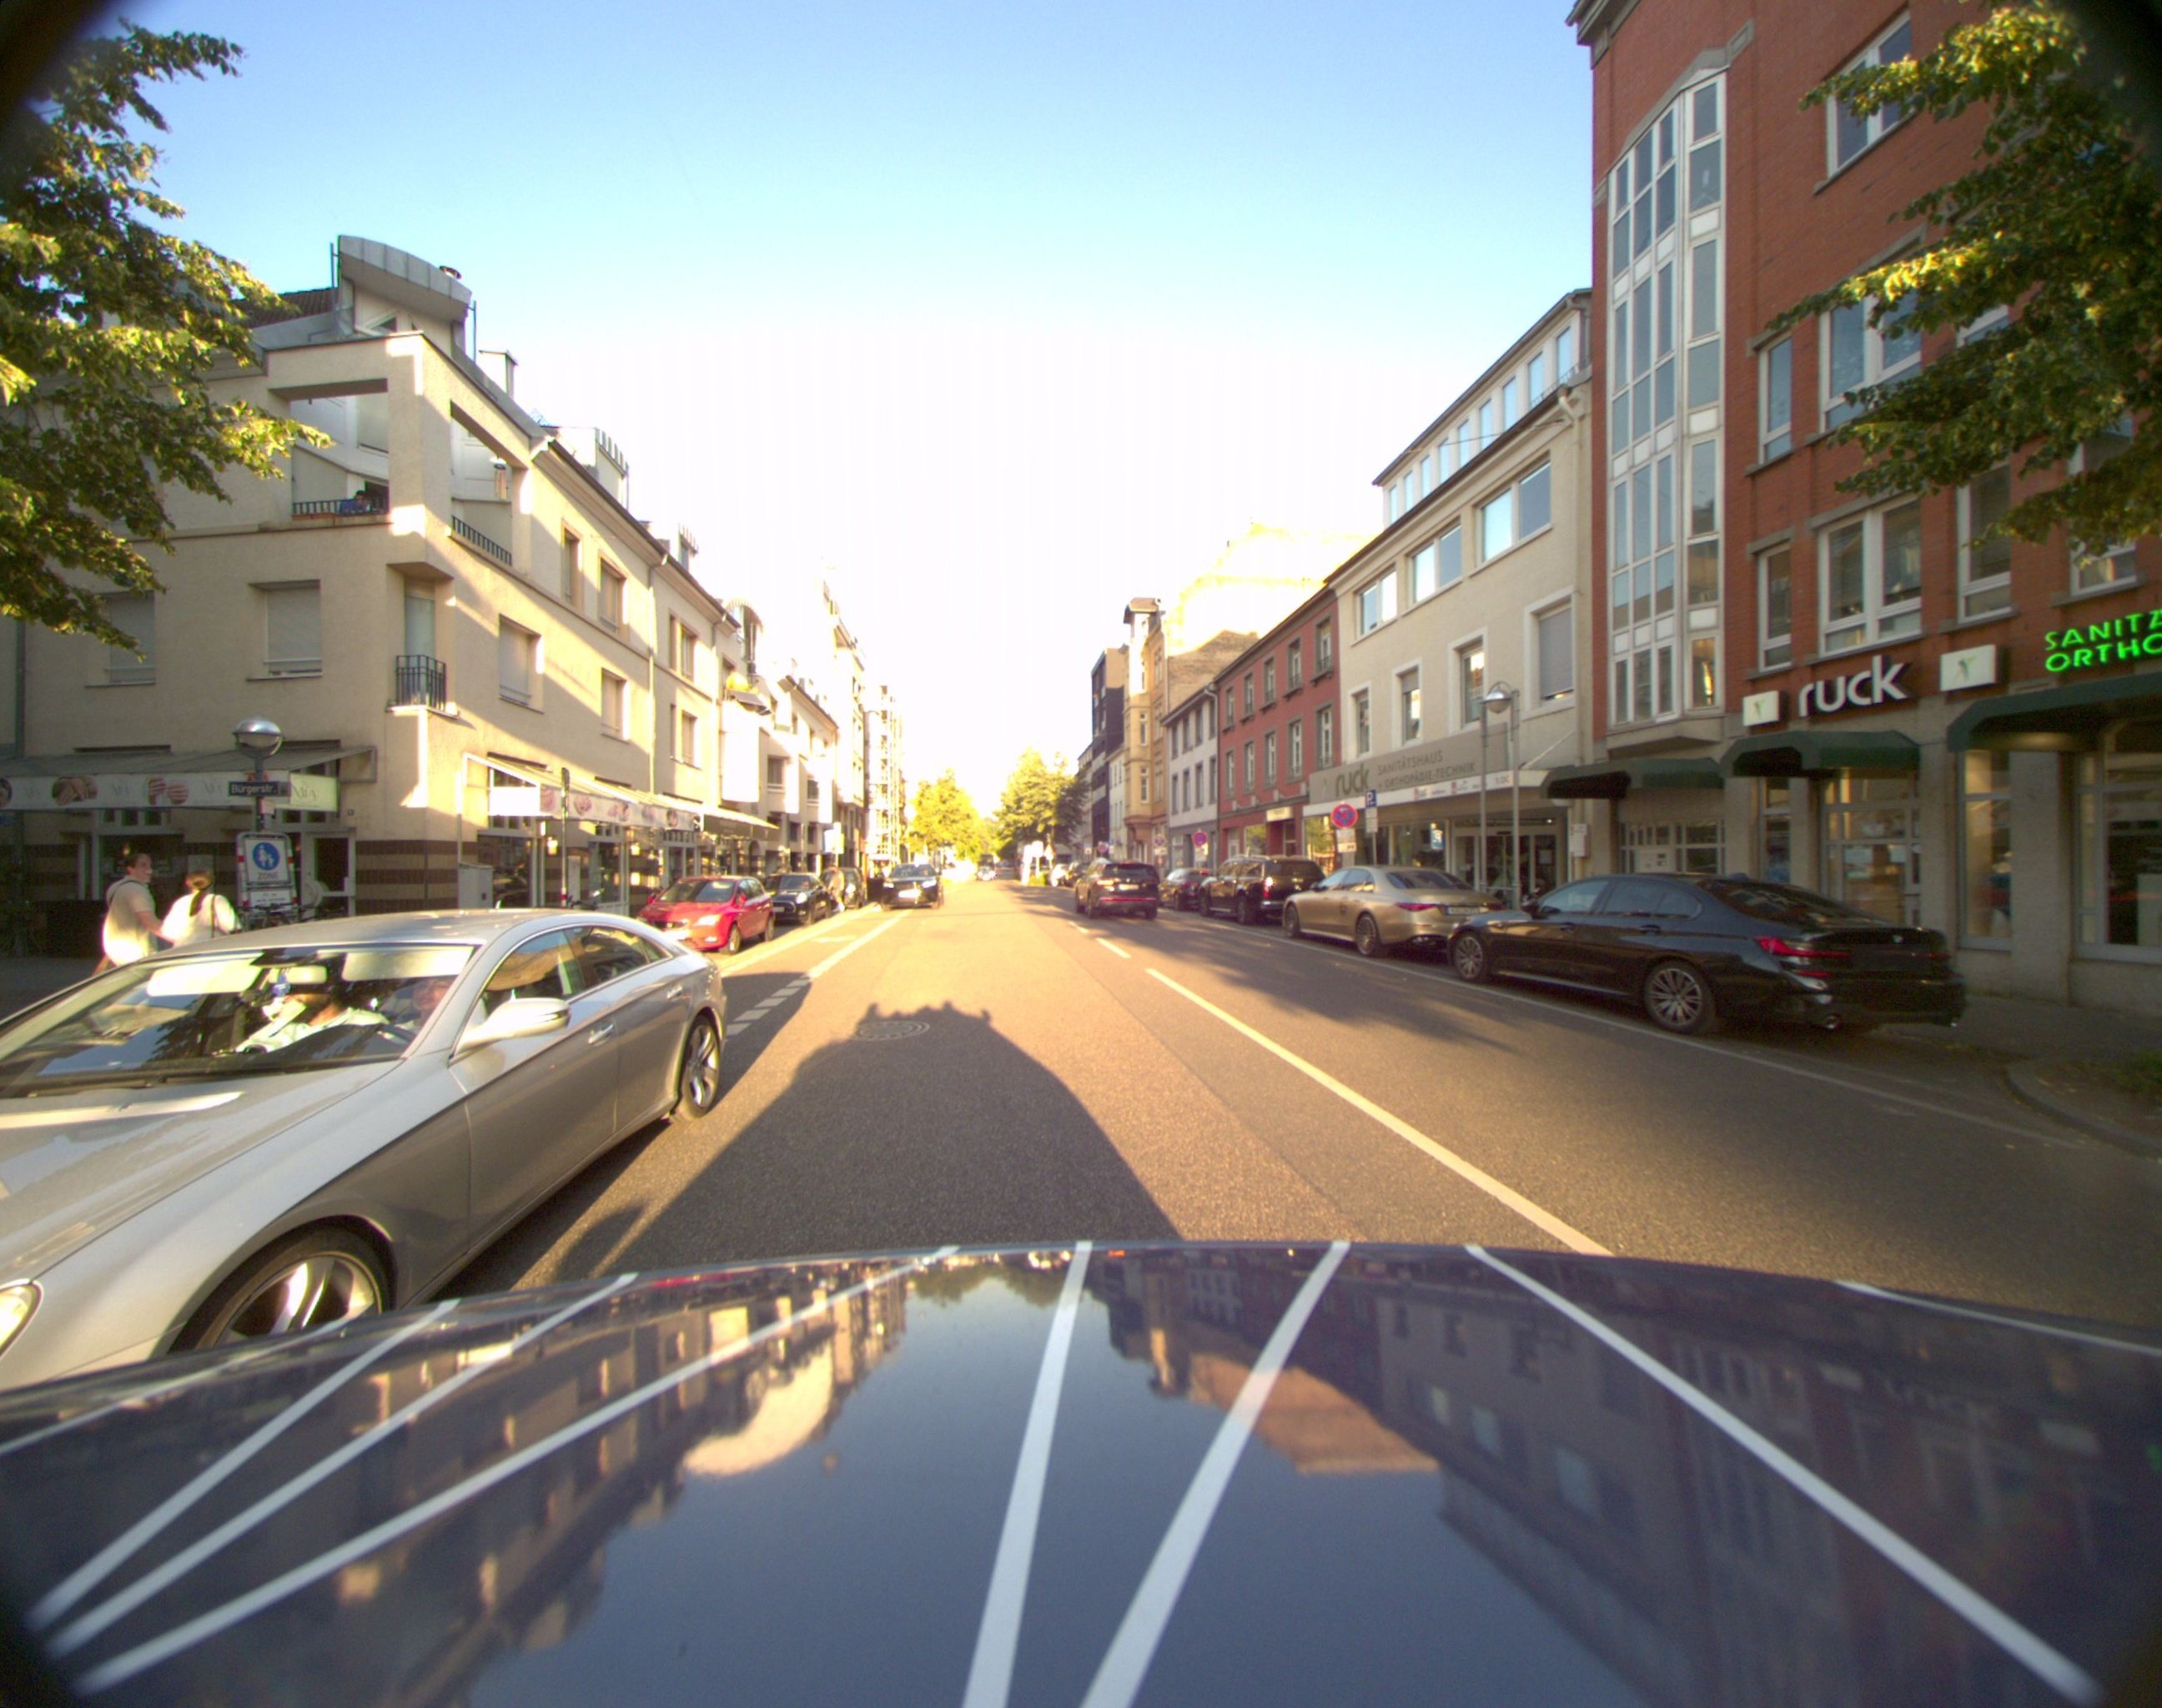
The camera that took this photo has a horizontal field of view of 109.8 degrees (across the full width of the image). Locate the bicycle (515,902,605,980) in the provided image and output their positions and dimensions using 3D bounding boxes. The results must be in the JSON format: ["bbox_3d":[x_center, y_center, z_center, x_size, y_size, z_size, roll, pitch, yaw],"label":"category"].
[{"bbox_3d":[-8.372,1.361,12.290,0.315,1.040,1.881,0,0,-5],"label":"bicycle"}]

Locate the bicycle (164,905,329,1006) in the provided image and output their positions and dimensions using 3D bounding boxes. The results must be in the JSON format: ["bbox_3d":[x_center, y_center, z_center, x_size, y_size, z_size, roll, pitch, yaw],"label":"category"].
[{"bbox_3d":[-11.073,1.297,10.175,0.322,1.098,1.878,-1,0,-7],"label":"bicycle"}]

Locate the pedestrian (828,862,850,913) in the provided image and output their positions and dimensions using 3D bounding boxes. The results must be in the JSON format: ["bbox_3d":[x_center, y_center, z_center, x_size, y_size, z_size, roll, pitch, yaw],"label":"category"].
[{"bbox_3d":[-8.478,1.161,26.614,0.631,1.739,0.669,0,0,-8],"label":"pedestrian"}]

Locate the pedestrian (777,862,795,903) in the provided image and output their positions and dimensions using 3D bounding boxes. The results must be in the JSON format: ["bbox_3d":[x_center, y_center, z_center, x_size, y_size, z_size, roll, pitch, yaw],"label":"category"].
[{"bbox_3d":[-13.115,1.273,33.805,0.576,1.789,0.450,-2,1,-7],"label":"pedestrian"}]

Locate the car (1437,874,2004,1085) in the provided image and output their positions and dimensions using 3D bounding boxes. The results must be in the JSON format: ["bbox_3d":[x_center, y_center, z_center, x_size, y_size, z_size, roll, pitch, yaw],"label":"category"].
[{"bbox_3d":[5.883,1.008,7.937,1.726,1.464,4.538,2,-1,-7],"label":"car"}]

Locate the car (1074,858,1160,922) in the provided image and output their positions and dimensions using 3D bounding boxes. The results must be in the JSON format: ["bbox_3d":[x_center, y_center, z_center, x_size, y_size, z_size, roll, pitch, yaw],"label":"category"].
[{"bbox_3d":[0.917,0.964,21.756,1.736,1.665,4.293,1,-1,-7],"label":"car"}]

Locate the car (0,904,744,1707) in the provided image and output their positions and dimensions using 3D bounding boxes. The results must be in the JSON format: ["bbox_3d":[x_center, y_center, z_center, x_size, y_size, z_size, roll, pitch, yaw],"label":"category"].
[{"bbox_3d":[-3.029,1.087,3.155,1.748,1.393,4.636,-2,0,-8],"label":"car"}]

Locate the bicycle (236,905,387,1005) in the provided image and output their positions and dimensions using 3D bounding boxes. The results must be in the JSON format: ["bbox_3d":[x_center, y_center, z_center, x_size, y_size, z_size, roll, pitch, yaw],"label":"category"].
[{"bbox_3d":[-10.311,1.300,10.270,0.322,1.098,1.878,-1,0,-7],"label":"bicycle"}]

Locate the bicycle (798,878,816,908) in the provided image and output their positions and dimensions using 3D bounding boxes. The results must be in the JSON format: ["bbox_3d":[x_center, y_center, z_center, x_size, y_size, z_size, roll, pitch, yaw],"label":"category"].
[{"bbox_3d":[-10.624,1.512,29.468,0.296,1.079,1.462,-1,0,-7],"label":"bicycle"}]

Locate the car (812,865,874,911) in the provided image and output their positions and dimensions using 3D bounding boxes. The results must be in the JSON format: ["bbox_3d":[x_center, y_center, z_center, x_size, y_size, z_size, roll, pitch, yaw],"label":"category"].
[{"bbox_3d":[-9.043,1.236,29.146,1.622,1.583,3.923,-1,0,-8],"label":"car"}]

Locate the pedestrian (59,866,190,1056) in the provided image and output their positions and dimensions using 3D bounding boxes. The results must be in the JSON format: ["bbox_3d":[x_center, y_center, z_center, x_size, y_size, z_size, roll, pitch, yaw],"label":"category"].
[{"bbox_3d":[-9.147,1.003,7.284,0.545,1.748,0.502,2,0,-8],"label":"pedestrian"}]

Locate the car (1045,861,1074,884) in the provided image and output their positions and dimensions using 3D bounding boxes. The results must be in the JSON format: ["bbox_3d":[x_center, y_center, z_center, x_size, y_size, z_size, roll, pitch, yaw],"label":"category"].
[{"bbox_3d":[-1.597,1.315,54.858,1.674,1.512,3.562,1,0,-8],"label":"car"}]

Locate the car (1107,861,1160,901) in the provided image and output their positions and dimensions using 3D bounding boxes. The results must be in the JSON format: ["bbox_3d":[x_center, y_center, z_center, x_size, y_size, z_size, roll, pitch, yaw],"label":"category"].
[{"bbox_3d":[2.330,1.202,34.833,1.726,1.673,4.047,2,-1,-6],"label":"car"}]

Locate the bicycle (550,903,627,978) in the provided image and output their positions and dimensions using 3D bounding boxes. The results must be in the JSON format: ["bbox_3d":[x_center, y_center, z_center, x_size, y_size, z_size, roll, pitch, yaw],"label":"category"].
[{"bbox_3d":[-8.049,1.381,12.477,0.315,1.040,1.664,0,0,-5],"label":"bicycle"}]

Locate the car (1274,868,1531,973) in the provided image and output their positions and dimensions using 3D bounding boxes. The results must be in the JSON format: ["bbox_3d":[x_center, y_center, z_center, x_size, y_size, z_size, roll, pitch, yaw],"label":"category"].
[{"bbox_3d":[5.347,1.027,13.608,2.000,1.463,5.104,1,-1,-6],"label":"car"}]

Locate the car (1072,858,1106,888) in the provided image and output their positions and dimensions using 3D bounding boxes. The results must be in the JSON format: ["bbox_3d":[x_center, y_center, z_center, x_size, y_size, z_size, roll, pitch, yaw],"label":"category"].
[{"bbox_3d":[0.472,1.197,48.040,1.674,1.763,3.563,2,-1,-6],"label":"car"}]

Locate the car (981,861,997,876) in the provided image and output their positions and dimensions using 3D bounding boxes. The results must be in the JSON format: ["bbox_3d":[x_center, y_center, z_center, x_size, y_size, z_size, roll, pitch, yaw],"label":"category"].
[{"bbox_3d":[-9.744,1.530,80.241,1.623,1.465,3.686,-2,0,-8],"label":"car"}]

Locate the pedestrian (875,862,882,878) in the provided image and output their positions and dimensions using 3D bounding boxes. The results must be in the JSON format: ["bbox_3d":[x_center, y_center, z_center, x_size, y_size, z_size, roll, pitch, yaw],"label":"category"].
[{"bbox_3d":[-16.559,1.307,62.090,0.492,1.256,0.421,-2,1,-7],"label":"pedestrian"}]

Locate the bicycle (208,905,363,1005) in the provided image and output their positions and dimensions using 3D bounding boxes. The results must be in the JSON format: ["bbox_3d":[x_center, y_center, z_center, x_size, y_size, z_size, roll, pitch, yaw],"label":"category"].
[{"bbox_3d":[-10.621,1.300,10.236,0.291,1.098,1.886,-1,0,-7],"label":"bicycle"}]

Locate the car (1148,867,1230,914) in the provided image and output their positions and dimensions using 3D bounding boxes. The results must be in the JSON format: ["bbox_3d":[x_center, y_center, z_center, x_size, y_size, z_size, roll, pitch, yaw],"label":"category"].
[{"bbox_3d":[3.667,1.218,26.509,1.707,1.429,4.012,2,-1,-8],"label":"car"}]

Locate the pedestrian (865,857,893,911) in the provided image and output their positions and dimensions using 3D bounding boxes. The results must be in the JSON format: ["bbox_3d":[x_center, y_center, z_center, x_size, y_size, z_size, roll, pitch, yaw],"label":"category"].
[{"bbox_3d":[-7.308,1.068,27.528,0.779,1.872,0.669,-4,1,-8],"label":"pedestrian"}]

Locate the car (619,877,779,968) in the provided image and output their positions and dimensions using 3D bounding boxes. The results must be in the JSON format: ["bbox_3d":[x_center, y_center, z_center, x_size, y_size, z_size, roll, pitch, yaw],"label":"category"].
[{"bbox_3d":[-7.194,1.213,14.720,1.594,1.425,3.923,1,0,-8],"label":"car"}]

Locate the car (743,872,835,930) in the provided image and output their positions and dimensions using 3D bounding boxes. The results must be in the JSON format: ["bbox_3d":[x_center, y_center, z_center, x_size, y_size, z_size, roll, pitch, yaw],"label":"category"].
[{"bbox_3d":[-8.208,1.259,21.679,1.622,1.425,3.923,0,0,-8],"label":"car"}]

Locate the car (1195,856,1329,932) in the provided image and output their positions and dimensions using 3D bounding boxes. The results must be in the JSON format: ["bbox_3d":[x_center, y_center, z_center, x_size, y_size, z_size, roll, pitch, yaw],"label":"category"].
[{"bbox_3d":[4.653,0.970,20.375,1.726,1.768,4.935,1,-1,-9],"label":"car"}]

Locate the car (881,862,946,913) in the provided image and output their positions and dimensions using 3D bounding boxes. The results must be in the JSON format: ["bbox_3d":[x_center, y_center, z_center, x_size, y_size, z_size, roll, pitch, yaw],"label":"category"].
[{"bbox_3d":[-5.951,1.131,27.455,1.891,1.626,4.224,-2,0,-8],"label":"car"}]

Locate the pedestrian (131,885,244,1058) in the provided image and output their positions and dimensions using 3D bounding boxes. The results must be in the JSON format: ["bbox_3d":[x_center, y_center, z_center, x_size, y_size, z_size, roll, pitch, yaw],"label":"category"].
[{"bbox_3d":[-8.471,1.097,7.219,0.521,1.583,0.408,2,0,-8],"label":"pedestrian"}]
